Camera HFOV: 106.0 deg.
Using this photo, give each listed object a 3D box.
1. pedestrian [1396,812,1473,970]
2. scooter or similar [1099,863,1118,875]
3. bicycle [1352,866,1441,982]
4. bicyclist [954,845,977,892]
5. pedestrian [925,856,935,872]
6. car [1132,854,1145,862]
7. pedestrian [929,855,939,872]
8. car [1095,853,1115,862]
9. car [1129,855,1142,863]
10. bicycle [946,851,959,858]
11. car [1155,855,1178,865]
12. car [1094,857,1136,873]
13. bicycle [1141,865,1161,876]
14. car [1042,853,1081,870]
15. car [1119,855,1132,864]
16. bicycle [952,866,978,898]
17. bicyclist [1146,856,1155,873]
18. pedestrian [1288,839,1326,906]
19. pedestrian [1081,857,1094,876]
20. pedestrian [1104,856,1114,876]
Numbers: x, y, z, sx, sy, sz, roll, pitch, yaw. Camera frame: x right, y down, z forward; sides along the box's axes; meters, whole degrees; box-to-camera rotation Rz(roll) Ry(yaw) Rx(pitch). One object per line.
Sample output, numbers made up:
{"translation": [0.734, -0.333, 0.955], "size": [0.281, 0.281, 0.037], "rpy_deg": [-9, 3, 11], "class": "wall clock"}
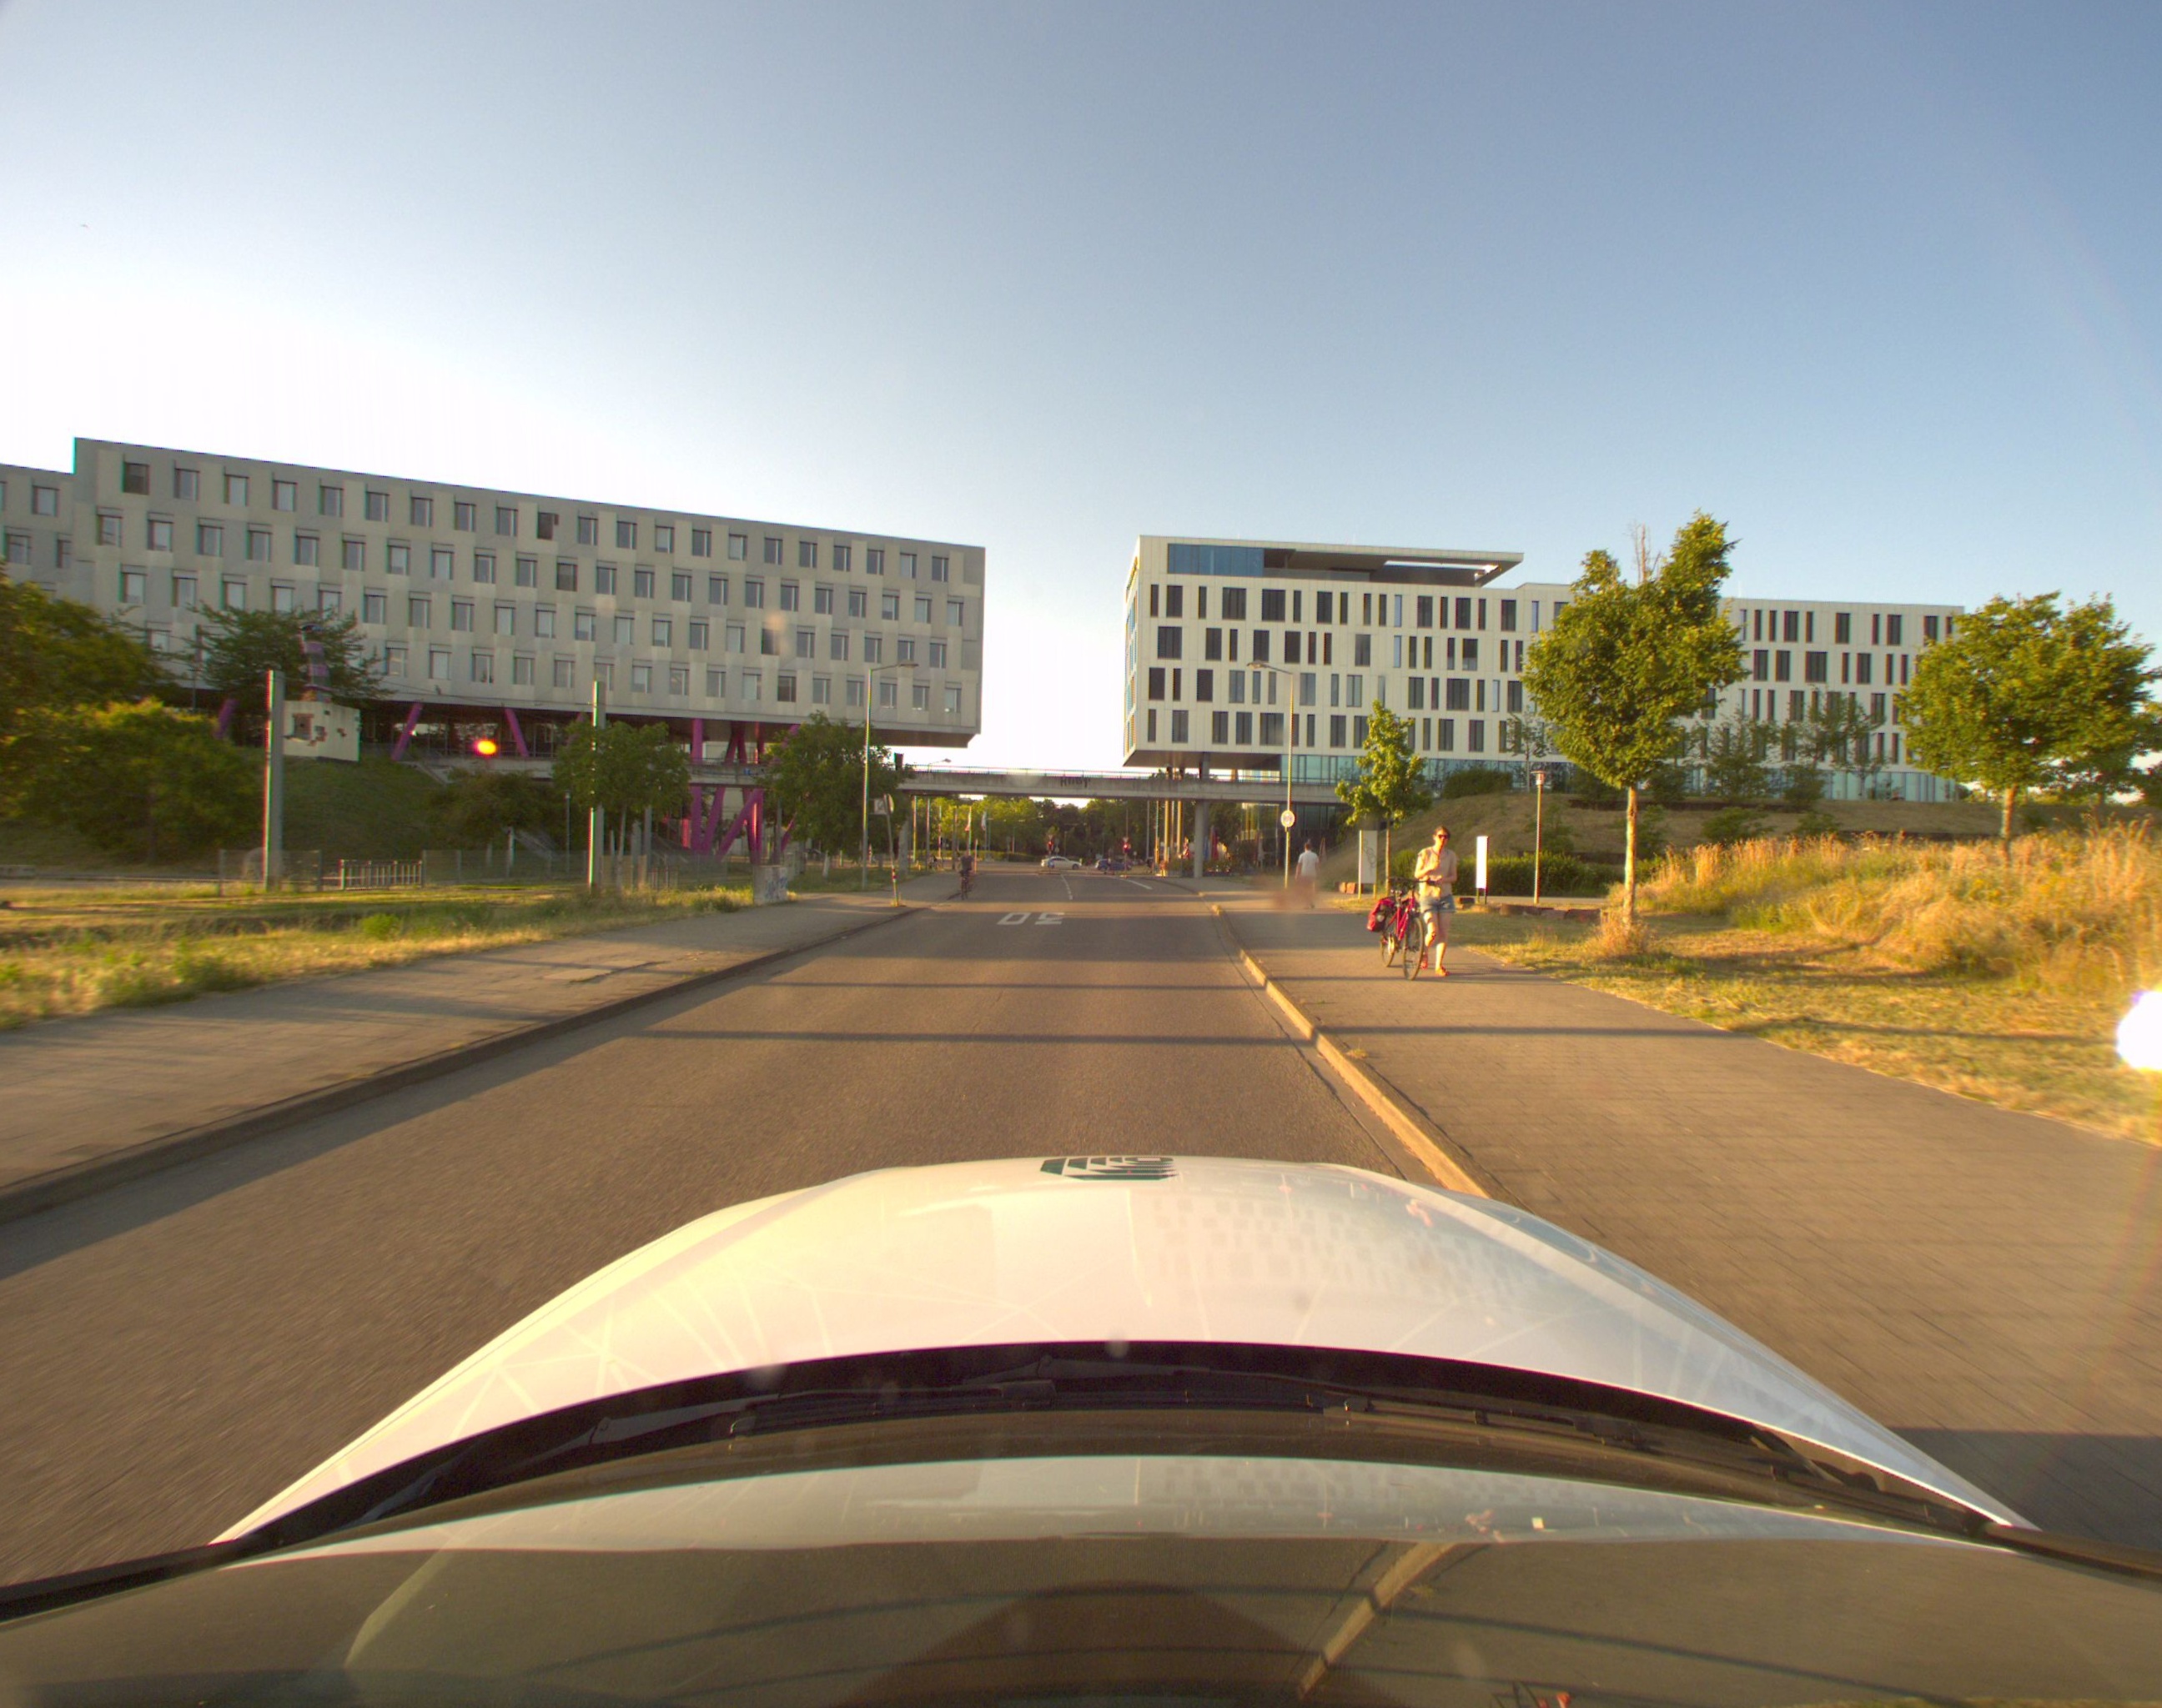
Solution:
{"translation": [4.238, 0.418, 9.808], "size": [0.591, 1.801, 0.819], "rpy_deg": [1, 1, 6], "class": "pedestrian"}
{"translation": [2.906, 1.568, 84.766], "size": [1.860, 1.174, 0.761], "rpy_deg": [1, 1, -10], "class": "scooter or similar"}
{"translation": [3.726, 0.771, 9.765], "size": [0.448, 1.168, 1.944], "rpy_deg": [1, 1, 5], "class": "bicycle"}
{"translation": [-4.171, 0.521, 29.491], "size": [0.612, 1.662, 1.037], "rpy_deg": [1, 1, 3], "class": "bicyclist"}
{"translation": [-15.021, 0.979, 80.944], "size": [0.681, 1.624, 0.715], "rpy_deg": [1, 1, 16], "class": "pedestrian"}
{"translation": [12.256, 0.908, 172.977], "size": [1.483, 1.606, 3.423], "rpy_deg": [2, 1, 25], "class": "car"}
{"translation": [-14.780, 0.931, 81.696], "size": [0.695, 1.664, 0.715], "rpy_deg": [1, 1, 16], "class": "pedestrian"}
{"translation": [5.611, 0.868, 192.179], "size": [4.662, 1.869, 2.016], "rpy_deg": [1, 1, 5], "class": "car"}
{"translation": [11.315, 0.961, 169.388], "size": [1.483, 1.606, 3.423], "rpy_deg": [2, 1, 25], "class": "car"}
{"translation": [-21.169, 0.143, 134.003], "size": [1.973, 1.128, 0.555], "rpy_deg": [0, 1, -27], "class": "bicycle"}
{"translation": [16.628, 1.220, 158.852], "size": [4.447, 1.816, 1.947], "rpy_deg": [1, 1, 4], "class": "car"}
{"translation": [3.977, 1.300, 96.104], "size": [4.715, 1.828, 1.886], "rpy_deg": [1, 1, -11], "class": "car"}
{"translation": [7.249, 1.679, 84.555], "size": [1.962, 1.092, 0.622], "rpy_deg": [1, 1, 2], "class": "bicycle"}
{"translation": [-2.365, 0.909, 98.687], "size": [4.673, 1.828, 1.834], "rpy_deg": [1, 1, -1], "class": "car"}
{"translation": [8.987, 1.095, 165.201], "size": [1.483, 1.760, 3.423], "rpy_deg": [2, 1, 25], "class": "car"}
{"translation": [-4.179, 1.003, 29.410], "size": [0.536, 1.043, 1.927], "rpy_deg": [1, 1, 4], "class": "bicycle"}
{"translation": [7.215, 1.057, 84.540], "size": [0.857, 1.731, 0.606], "rpy_deg": [1, 1, 3], "class": "bicyclist"}
{"translation": [6.092, 0.474, 21.998], "size": [0.827, 1.766, 0.819], "rpy_deg": [1, 1, 6], "class": "pedestrian"}
{"translation": [0.671, 1.252, 81.778], "size": [1.055, 1.833, 0.891], "rpy_deg": [1, 1, -15], "class": "pedestrian"}
{"translation": [2.901, 1.222, 84.750], "size": [0.909, 1.990, 0.769], "rpy_deg": [1, 1, -10], "class": "pedestrian"}
